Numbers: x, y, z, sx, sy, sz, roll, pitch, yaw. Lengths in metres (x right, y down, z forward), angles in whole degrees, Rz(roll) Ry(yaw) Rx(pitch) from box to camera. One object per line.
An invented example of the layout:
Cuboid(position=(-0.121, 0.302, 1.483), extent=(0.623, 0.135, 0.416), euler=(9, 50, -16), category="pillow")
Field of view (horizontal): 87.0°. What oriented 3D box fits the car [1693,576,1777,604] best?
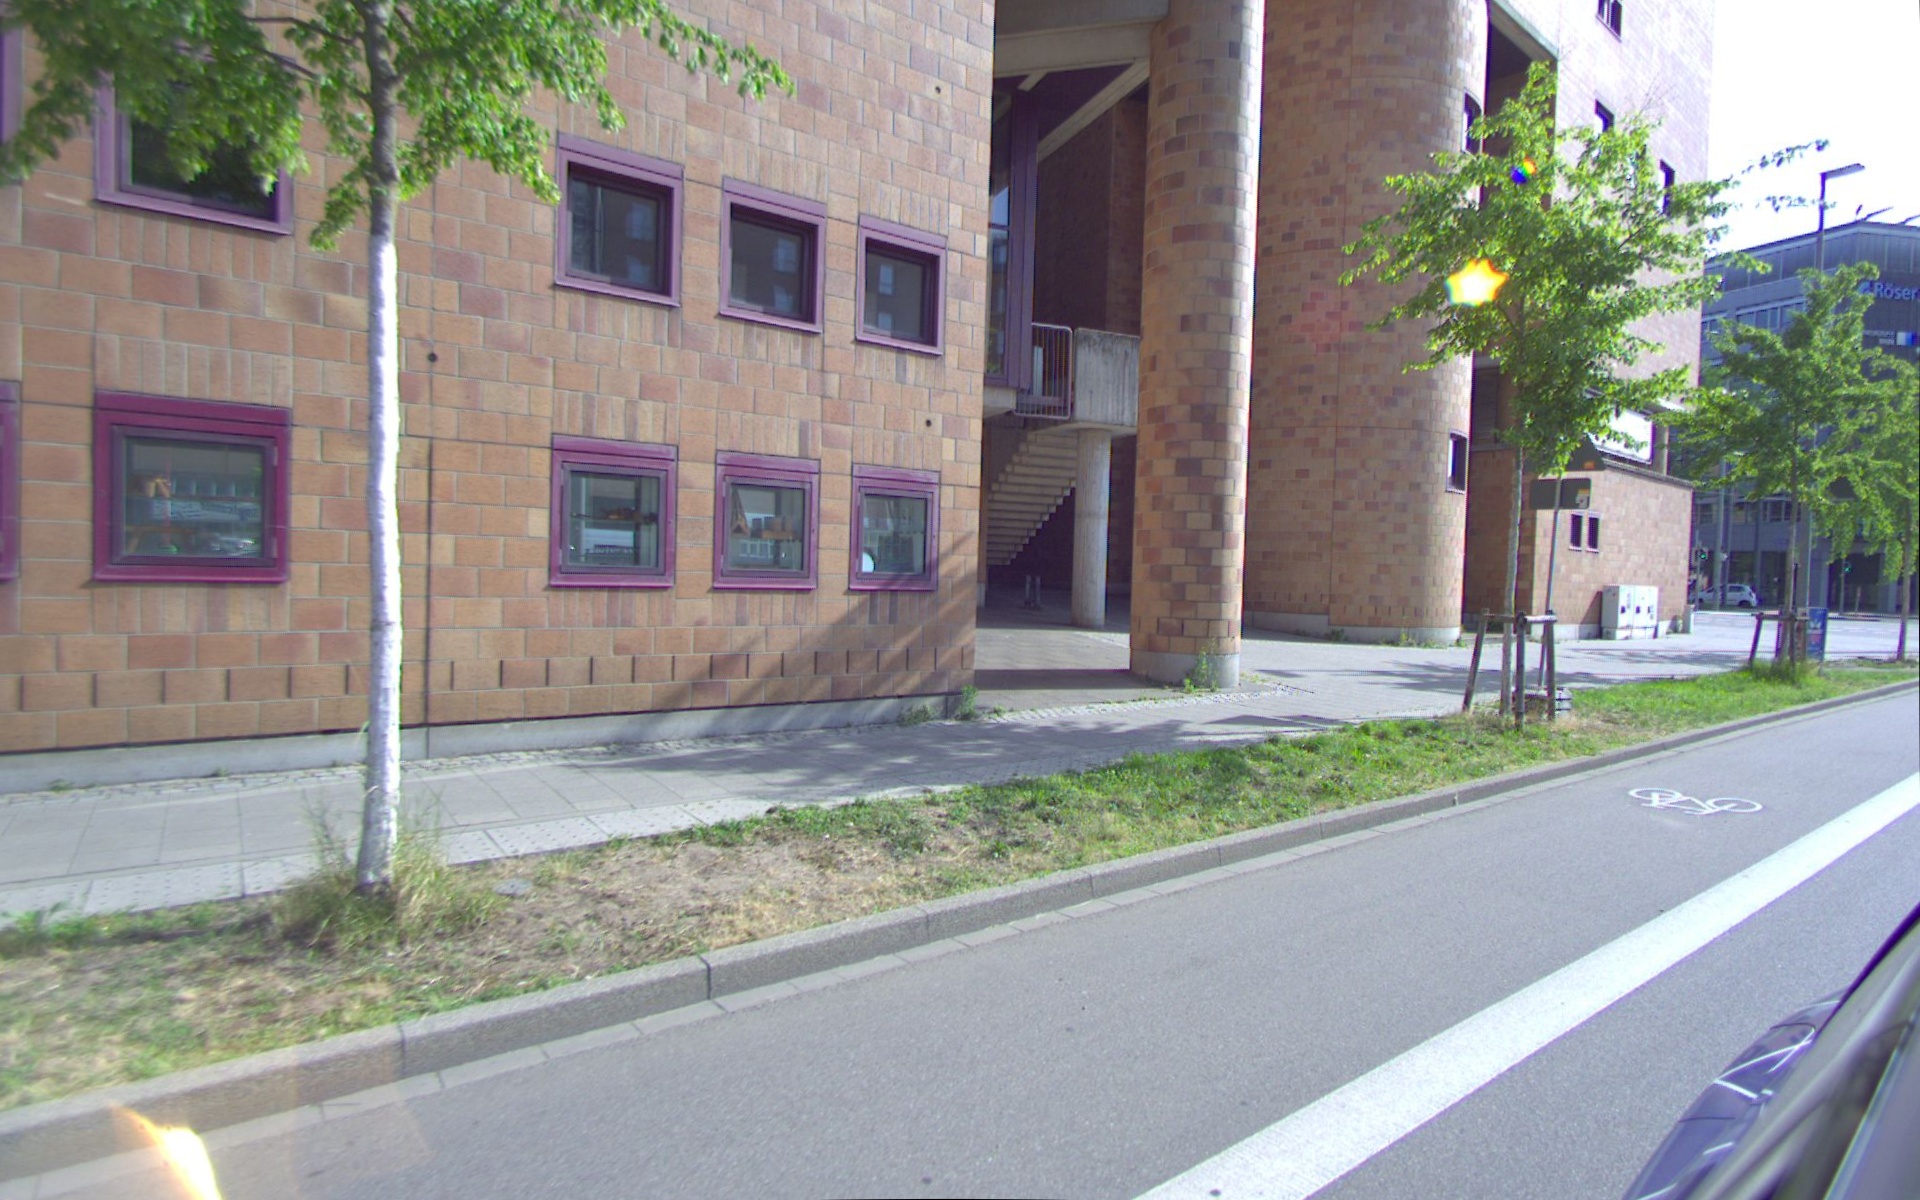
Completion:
Cuboid(position=(48.386, -0.678, 63.273), extent=(3.975, 1.548, 1.975), euler=(4, 3, 35), category="car")
